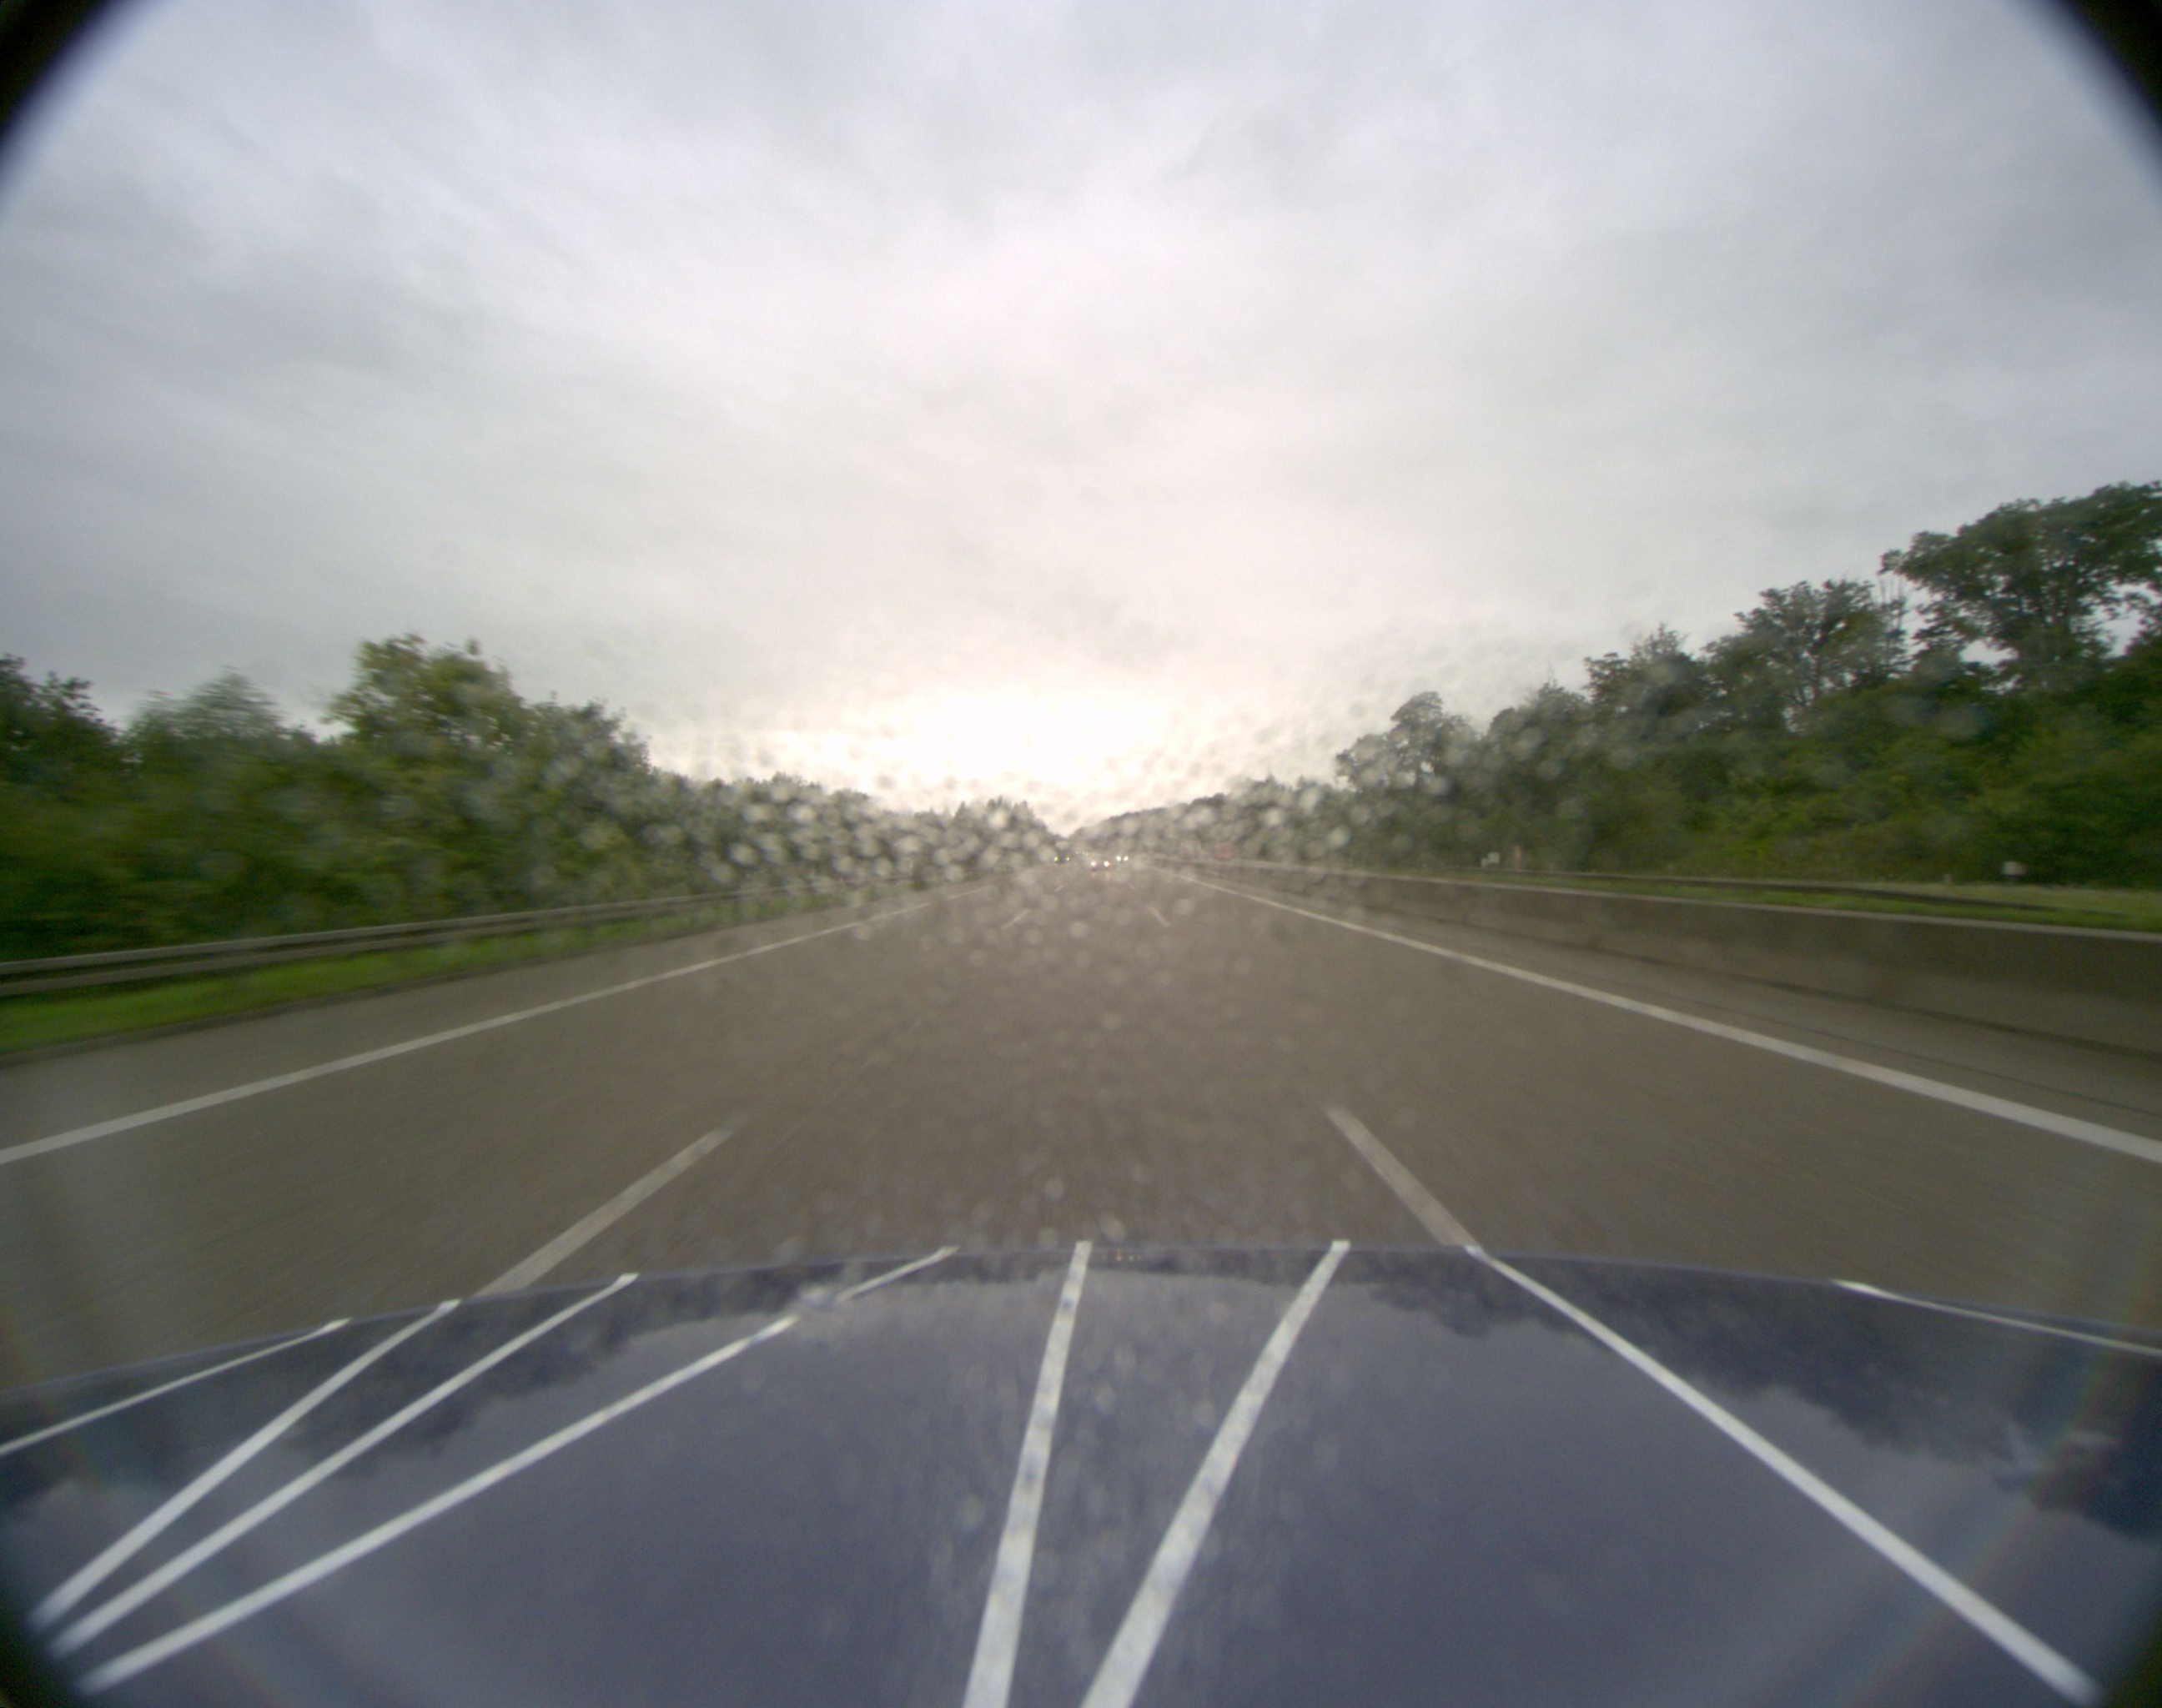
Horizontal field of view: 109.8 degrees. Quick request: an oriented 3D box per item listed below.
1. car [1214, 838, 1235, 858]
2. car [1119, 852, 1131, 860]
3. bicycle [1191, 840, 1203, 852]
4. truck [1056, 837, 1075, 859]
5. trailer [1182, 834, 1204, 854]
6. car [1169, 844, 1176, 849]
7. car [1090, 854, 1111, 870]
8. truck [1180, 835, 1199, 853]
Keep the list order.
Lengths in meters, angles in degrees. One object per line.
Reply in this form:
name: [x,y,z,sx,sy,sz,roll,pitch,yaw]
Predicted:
car: [22.488,-0.995,119.201,2.185,3.025,5.975,-1,1,1]
car: [7.599,0.338,131.784,2.009,1.455,4.001,0,0,3]
bicycle: [23.849,-1.626,156.210,2.199,2.512,1.110,-2,1,2]
truck: [-2.892,-1.170,146.529,3.243,3.873,12.025,-1,1,1]
trailer: [23.922,-2.113,163.062,3.370,3.994,12.609,-1,1,2]
car: [26.707,-2.129,221.742,1.715,1.433,4.000,0,0,0]
car: [1.965,0.788,74.579,1.932,1.521,4.299,0,-1,3]
truck: [24.138,-2.198,169.080,3.356,4.005,6.465,-1,1,2]
